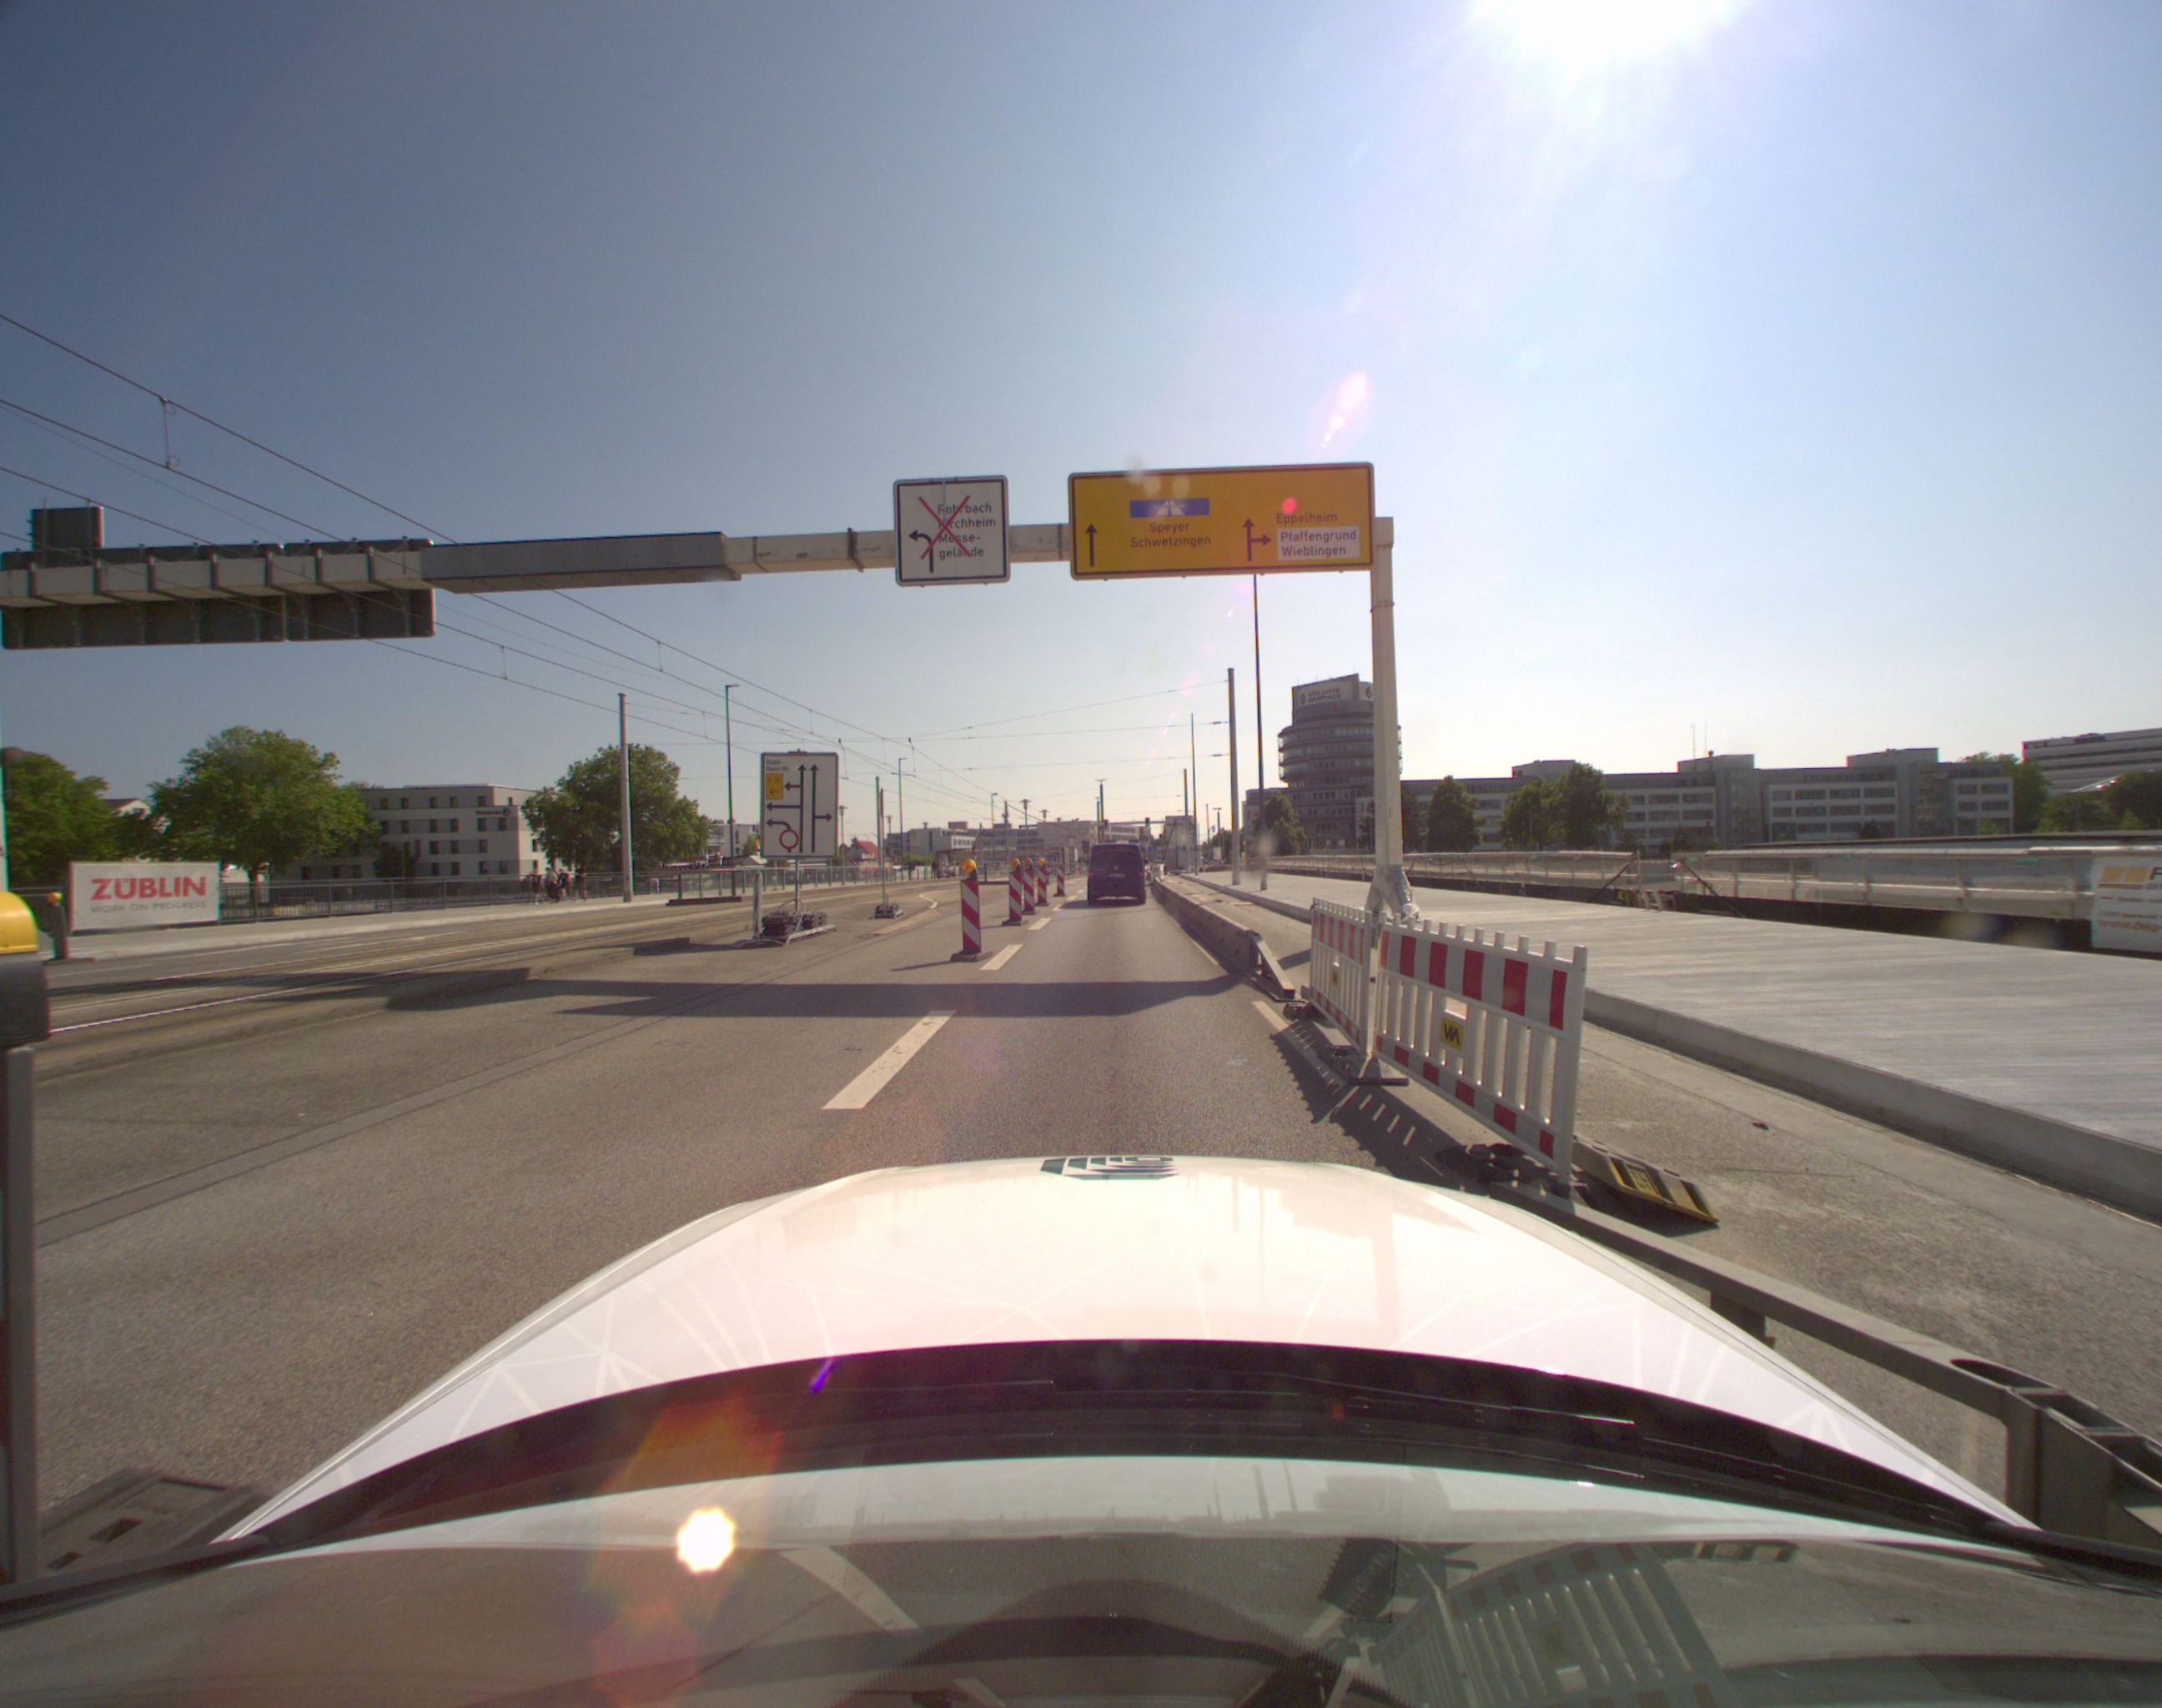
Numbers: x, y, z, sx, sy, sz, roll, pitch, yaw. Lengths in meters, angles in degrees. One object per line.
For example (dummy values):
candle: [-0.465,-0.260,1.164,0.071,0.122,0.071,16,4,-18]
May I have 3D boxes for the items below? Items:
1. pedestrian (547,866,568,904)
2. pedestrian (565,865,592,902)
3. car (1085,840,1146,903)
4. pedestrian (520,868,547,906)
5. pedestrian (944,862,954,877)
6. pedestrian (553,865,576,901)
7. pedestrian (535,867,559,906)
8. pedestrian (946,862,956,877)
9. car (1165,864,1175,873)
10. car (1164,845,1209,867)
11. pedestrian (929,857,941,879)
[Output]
pedestrian: [-24.376,1.434,37.906,0.381,1.687,0.771,-2,0,4]
pedestrian: [-23.667,1.380,38.379,0.749,1.687,0.732,-2,0,4]
car: [1.207,0.537,27.140,1.880,1.934,4.004,0,0,4]
pedestrian: [-24.733,1.476,36.787,0.595,1.687,0.818,-2,0,4]
pedestrian: [-11.198,1.335,69.063,0.644,1.274,0.454,-1,-1,7]
pedestrian: [-25.039,1.400,39.483,0.501,1.687,0.774,-2,0,4]
pedestrian: [-24.151,1.467,36.855,0.484,1.687,0.809,-2,0,4]
pedestrian: [-11.120,1.331,69.636,0.644,1.274,0.698,-1,-1,7]
car: [15.699,2.527,143.051,1.735,1.475,3.891,-1,-1,6]
car: [14.125,0.265,108.956,5.994,2.887,2.321,0,0,-34]
pedestrian: [-11.132,1.080,62.164,0.655,1.654,0.742,-2,0,15]
